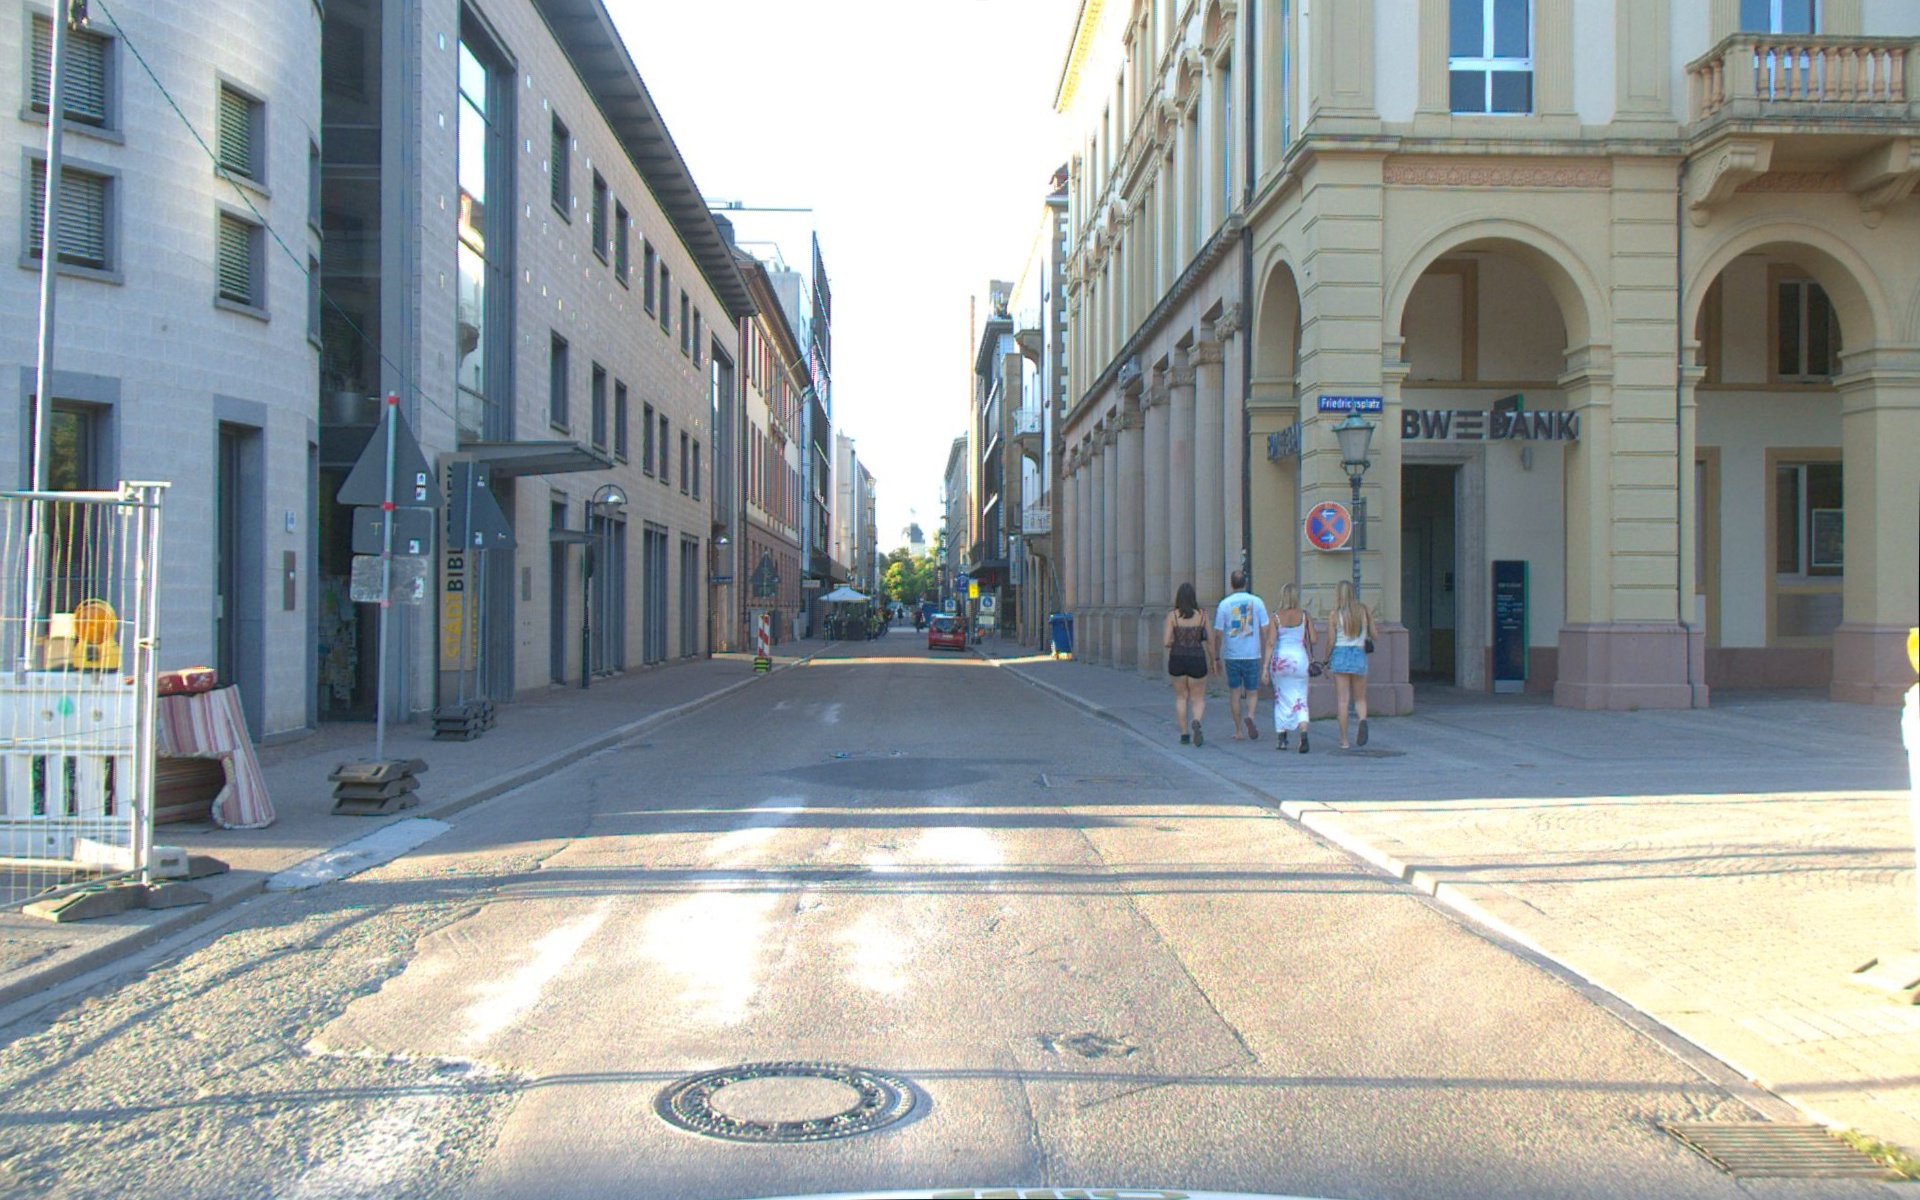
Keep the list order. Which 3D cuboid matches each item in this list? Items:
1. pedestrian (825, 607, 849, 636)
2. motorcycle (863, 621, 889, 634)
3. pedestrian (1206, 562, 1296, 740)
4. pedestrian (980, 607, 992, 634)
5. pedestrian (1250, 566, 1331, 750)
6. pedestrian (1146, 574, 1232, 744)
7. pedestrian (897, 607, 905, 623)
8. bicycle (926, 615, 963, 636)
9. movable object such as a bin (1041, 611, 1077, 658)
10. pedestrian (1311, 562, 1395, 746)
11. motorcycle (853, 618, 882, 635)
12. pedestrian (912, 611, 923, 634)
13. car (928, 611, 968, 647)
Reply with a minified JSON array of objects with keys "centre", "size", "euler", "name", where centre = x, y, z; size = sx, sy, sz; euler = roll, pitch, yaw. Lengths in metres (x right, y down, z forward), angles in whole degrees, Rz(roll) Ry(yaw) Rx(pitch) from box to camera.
[{"centre":[-6.490,1.119,87.258],"size":[1.265,1.514,0.661],"euler":[0,-1,-4],"name":"pedestrian"},{"centre":[-5.665,1.831,111.452],"size":[1.766,0.891,0.560],"euler":[0,-1,-6],"name":"motorcycle"},{"centre":[3.210,0.551,18.303],"size":[0.795,1.908,0.874],"euler":[-1,-1,-3],"name":"pedestrian"},{"centre":[1.454,1.126,91.375],"size":[0.643,1.514,0.493],"euler":[-1,-1,0],"name":"pedestrian"},{"centre":[3.371,0.582,16.924],"size":[0.623,1.835,0.771],"euler":[-1,-1,-3],"name":"pedestrian"},{"centre":[2.458,0.620,17.844],"size":[0.760,1.777,0.874],"euler":[-1,-1,-3],"name":"pedestrian"},{"centre":[-6.251,1.625,175.243],"size":[0.788,1.702,0.888],"euler":[0,-1,0],"name":"pedestrian"},{"centre":[-0.884,1.436,93.587],"size":[2.012,1.154,0.648],"euler":[0,-1,-6],"name":"bicycle"},{"centre":[3.035,1.047,50.974],"size":[0.970,1.416,1.240],"euler":[-1,0,-3],"name":"movable object such as a bin"},{"centre":[4.021,0.543,16.961],"size":[0.623,1.835,0.771],"euler":[-1,-1,-3],"name":"pedestrian"},{"centre":[-5.767,1.661,103.315],"size":[1.766,1.059,0.493],"euler":[0,-1,-6],"name":"motorcycle"},{"centre":[-3.269,1.706,126.924],"size":[0.848,1.743,0.852],"euler":[0,-1,-2],"name":"pedestrian"},{"centre":[-0.551,1.238,71.743],"size":[1.616,1.452,3.534],"euler":[3,-1,-1],"name":"car"}]
